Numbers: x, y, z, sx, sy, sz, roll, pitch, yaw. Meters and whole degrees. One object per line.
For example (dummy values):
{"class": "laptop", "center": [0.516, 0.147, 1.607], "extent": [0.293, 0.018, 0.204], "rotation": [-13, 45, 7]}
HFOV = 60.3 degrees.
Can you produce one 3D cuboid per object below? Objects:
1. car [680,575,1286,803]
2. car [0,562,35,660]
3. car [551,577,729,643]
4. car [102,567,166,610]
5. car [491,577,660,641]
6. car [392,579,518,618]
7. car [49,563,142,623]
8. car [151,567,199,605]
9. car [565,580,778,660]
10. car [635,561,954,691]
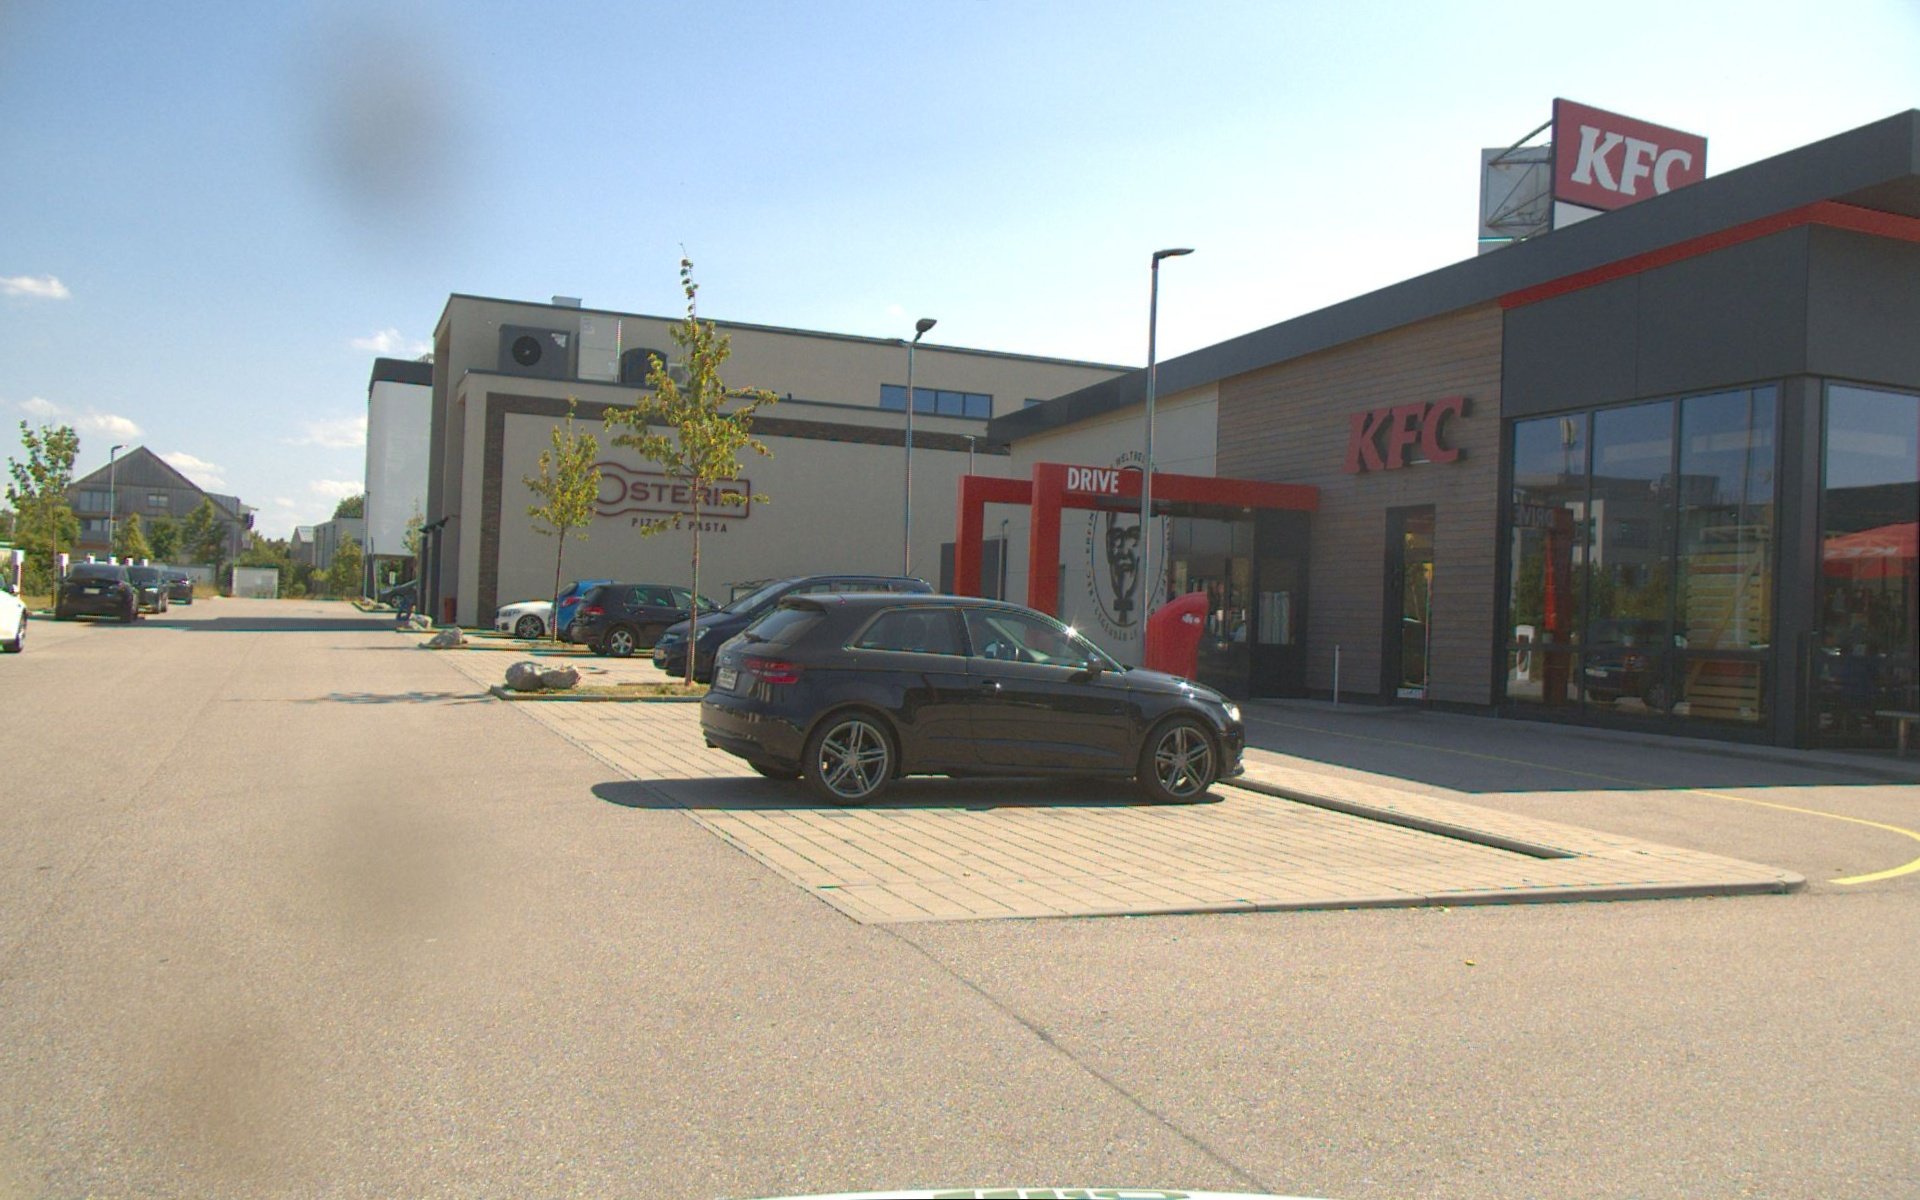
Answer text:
{"class": "car", "center": [0.178, 0.650, 12.260], "extent": [4.143, 1.466, 1.686], "rotation": [3, 0, -23]}
{"class": "car", "center": [-17.027, 0.124, 27.874], "extent": [1.917, 1.596, 3.974], "rotation": [3, 0, -22]}
{"class": "car", "center": [-7.769, 0.246, 40.175], "extent": [3.937, 1.445, 1.637], "rotation": [3, 0, -26]}
{"class": "car", "center": [-29.057, -0.413, 58.287], "extent": [1.719, 1.411, 3.971], "rotation": [3, 0, -23]}
{"class": "car", "center": [-9.823, 0.232, 42.265], "extent": [3.937, 1.445, 1.637], "rotation": [3, 0, -26]}
{"class": "car", "center": [-17.415, -0.044, 57.020], "extent": [3.934, 1.176, 1.986], "rotation": [2, 0, -24]}
{"class": "car", "center": [-24.818, -0.217, 47.580], "extent": [1.918, 1.596, 3.973], "rotation": [3, 0, -22]}
{"class": "car", "center": [-35.247, -0.644, 74.350], "extent": [1.719, 1.596, 3.971], "rotation": [3, 0, -23]}
{"class": "car", "center": [-5.840, 0.409, 33.545], "extent": [3.937, 1.445, 1.637], "rotation": [3, 0, -26]}
{"class": "car", "center": [-2.400, 0.399, 24.228], "extent": [4.318, 1.715, 1.627], "rotation": [3, 0, -27]}
